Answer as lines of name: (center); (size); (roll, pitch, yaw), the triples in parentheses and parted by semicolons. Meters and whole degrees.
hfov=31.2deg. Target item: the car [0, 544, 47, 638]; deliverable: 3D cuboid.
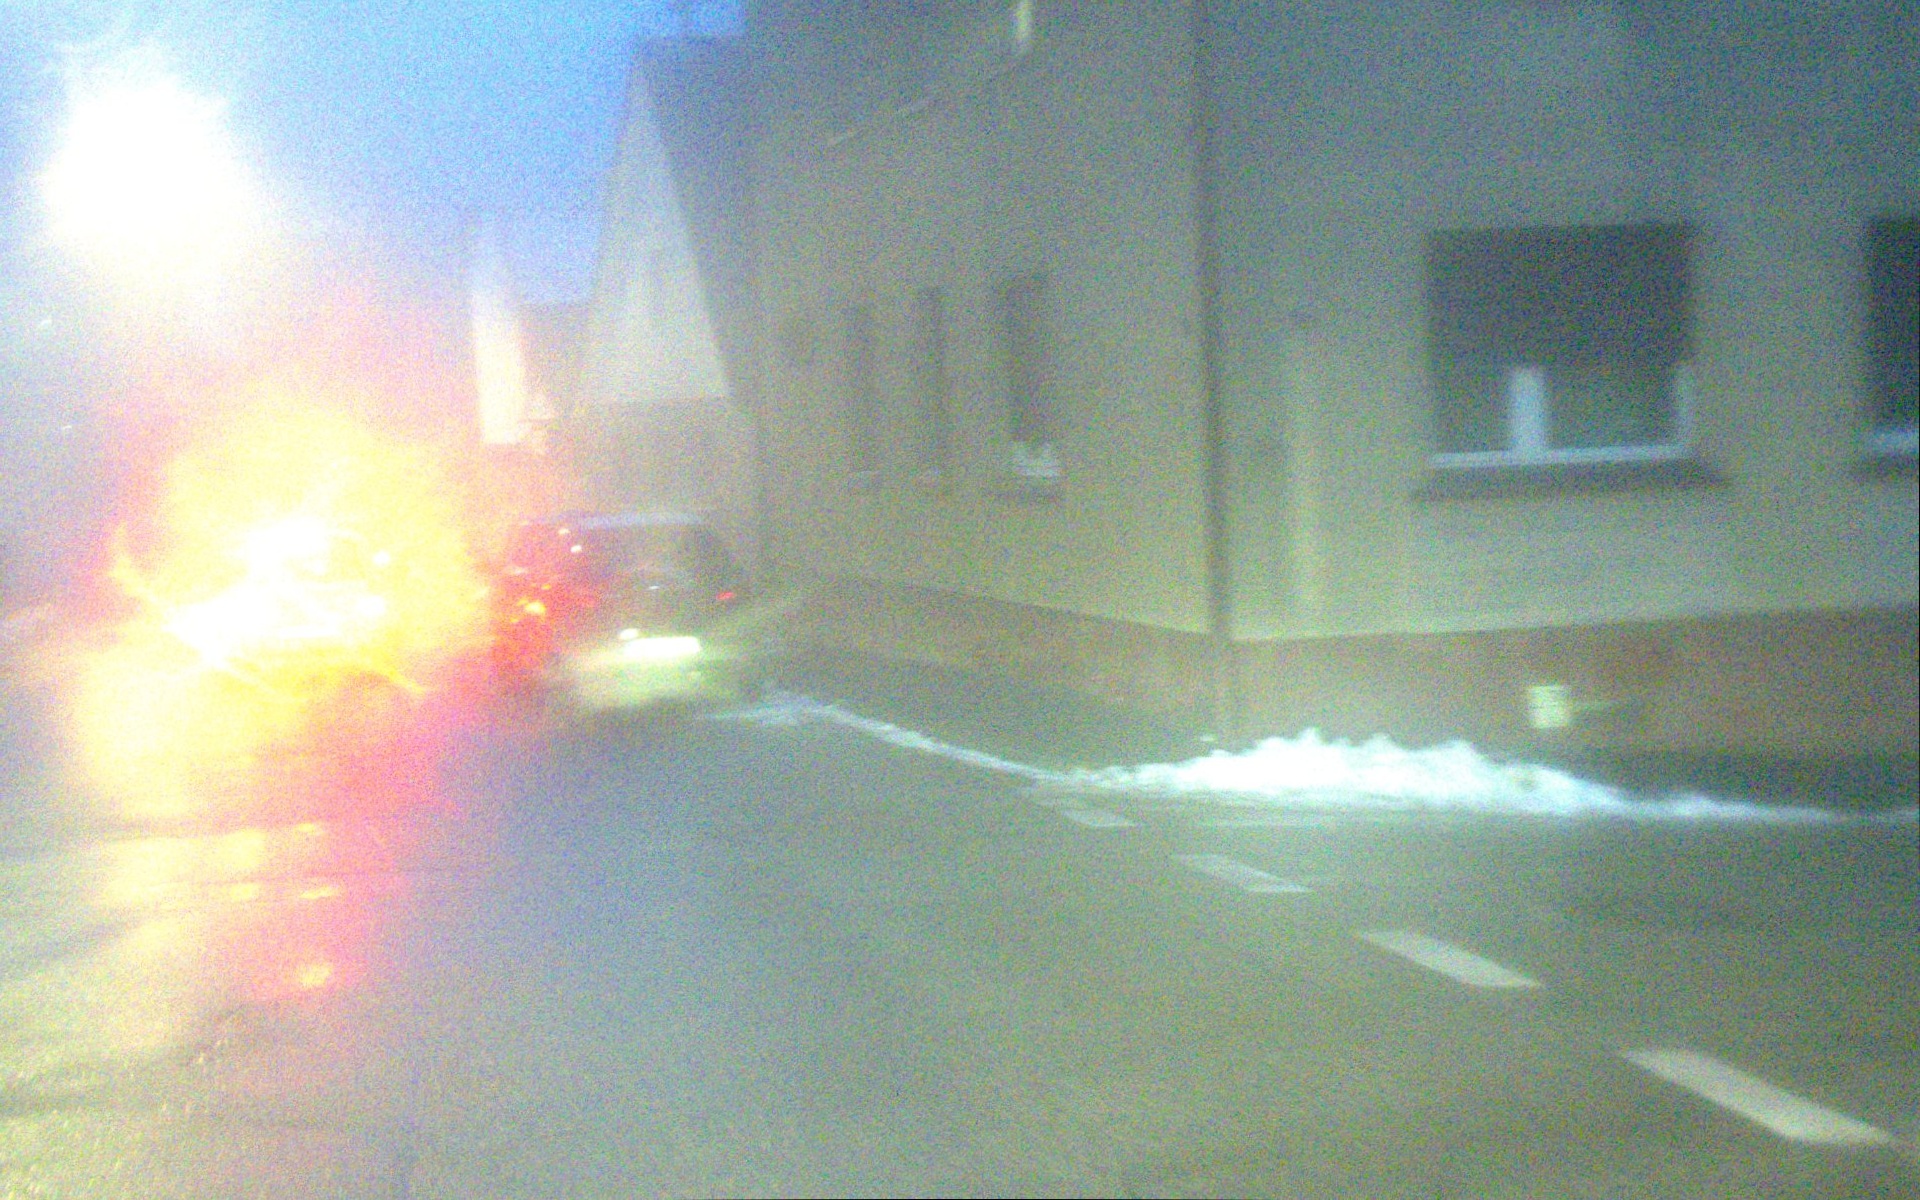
car: (-17.509, -0.181, 61.904); (1.993, 1.517, 4.192); (0, 3, -16)

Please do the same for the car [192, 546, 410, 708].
car: (-6.472, 0.248, 34.039); (1.993, 1.503, 4.001); (0, 0, -9)

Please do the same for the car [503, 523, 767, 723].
car: (-2.688, 0.172, 27.716); (1.716, 1.494, 3.908); (0, 0, -11)

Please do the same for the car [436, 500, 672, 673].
car: (-3.950, -0.161, 32.869); (1.910, 1.476, 4.283); (-2, 1, -10)
